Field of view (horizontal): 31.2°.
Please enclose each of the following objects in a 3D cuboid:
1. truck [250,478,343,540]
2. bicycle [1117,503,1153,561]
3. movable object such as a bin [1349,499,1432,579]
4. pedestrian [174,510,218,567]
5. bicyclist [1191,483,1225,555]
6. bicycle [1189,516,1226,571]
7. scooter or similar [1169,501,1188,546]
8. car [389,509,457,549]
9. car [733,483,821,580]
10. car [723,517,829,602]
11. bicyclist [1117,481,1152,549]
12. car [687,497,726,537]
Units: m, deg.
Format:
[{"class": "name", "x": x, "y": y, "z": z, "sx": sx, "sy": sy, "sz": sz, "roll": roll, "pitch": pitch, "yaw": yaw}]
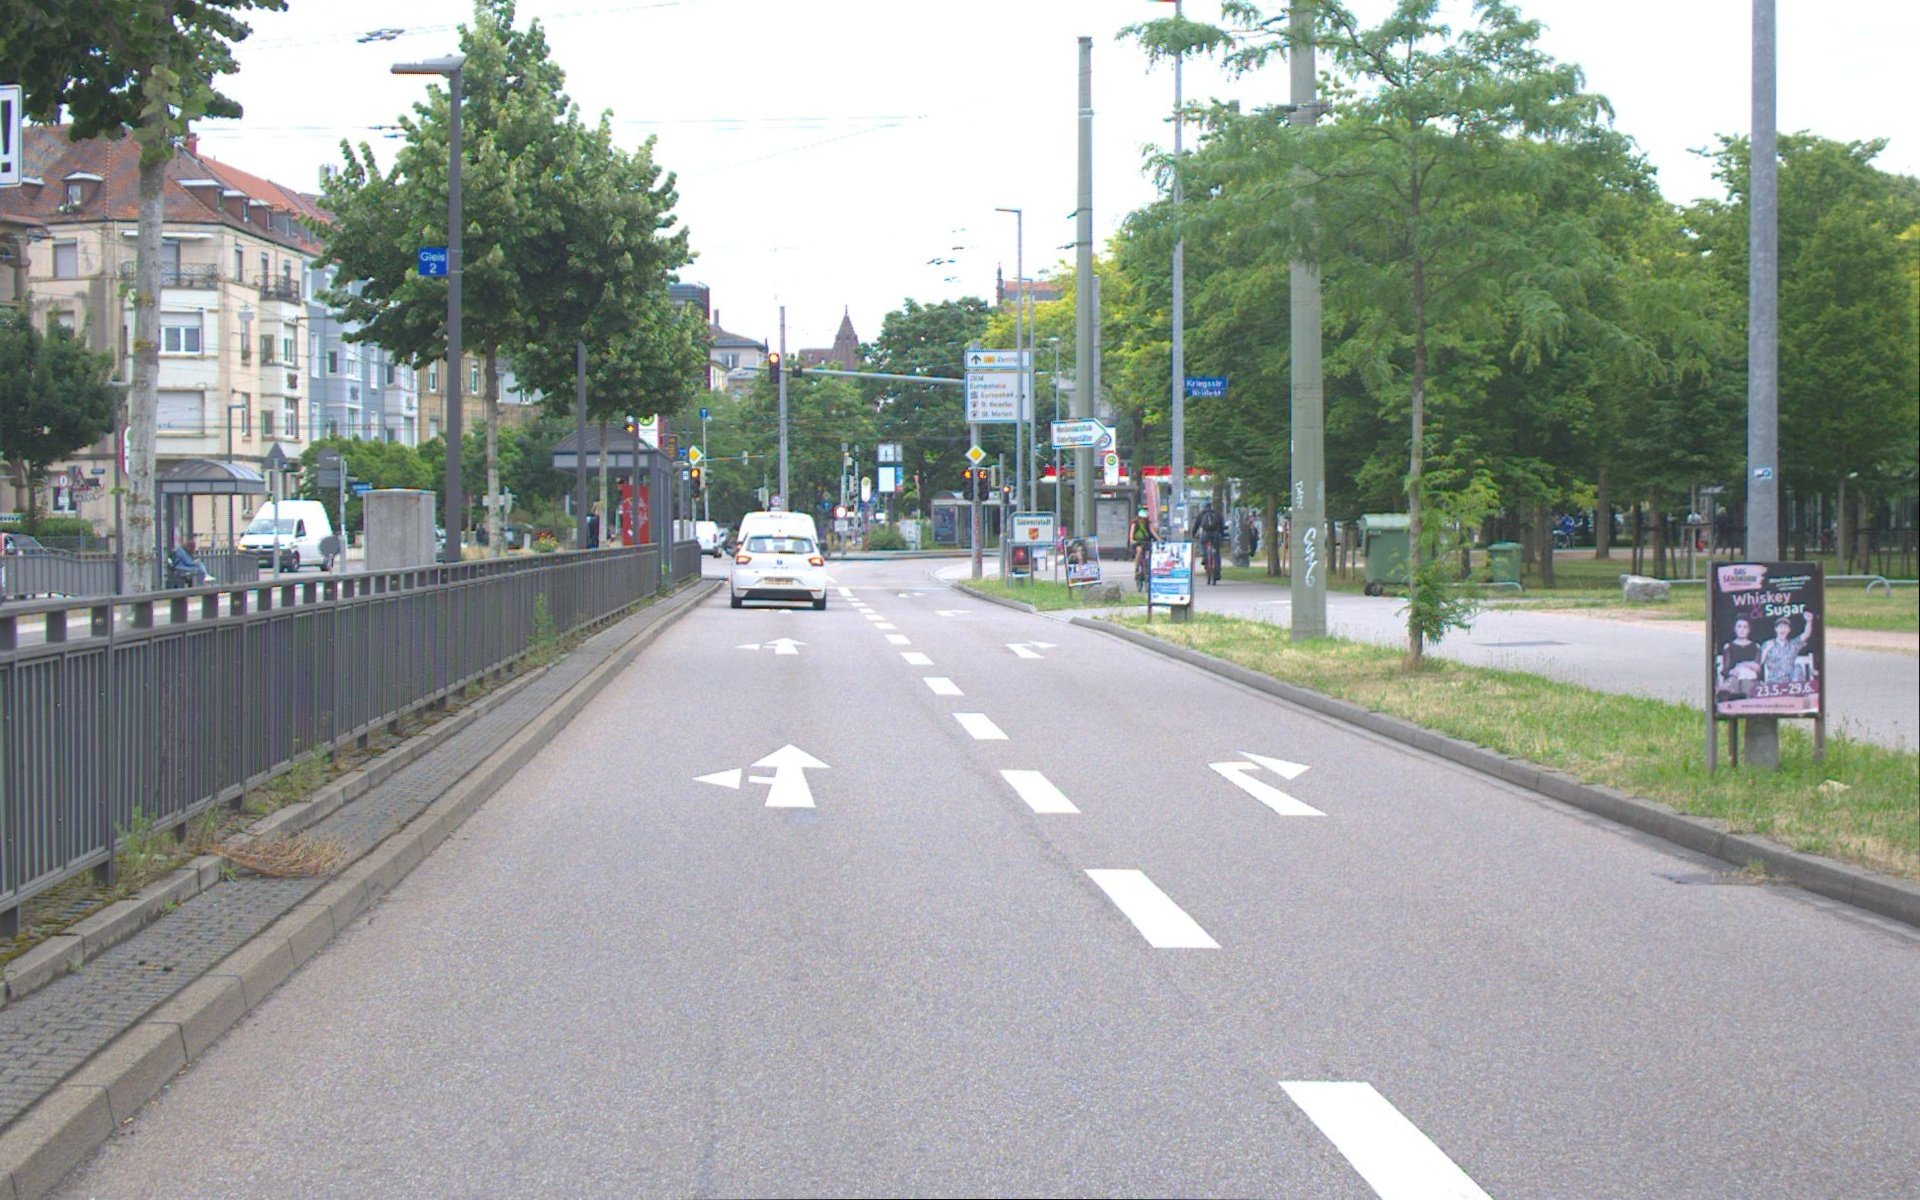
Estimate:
[{"class": "truck", "x": -22.430, "y": -3.062, "z": 116.374, "sx": 1.788, "sy": 2.025, "sz": 5.395, "roll": 0, "pitch": 1, "yaw": 4}, {"class": "bicycle", "x": 3.582, "y": -1.392, "z": 70.334, "sx": 0.679, "sy": 1.151, "sz": 1.898, "roll": -1, "pitch": 2, "yaw": 5}, {"class": "movable object such as a bin", "x": 7.581, "y": -1.076, "z": 60.573, "sx": 1.282, "sy": 1.385, "sz": 1.159, "roll": 0, "pitch": 1, "yaw": -2}, {"class": "pedestrian", "x": -17.247, "y": -1.396, "z": 77.582, "sx": 0.864, "sy": 1.262, "sz": 0.694, "roll": -1, "pitch": 2, "yaw": -5}, {"class": "bicyclist", "x": 5.369, "y": -1.762, "z": 74.587, "sx": 0.679, "sy": 1.532, "sz": 0.673, "roll": -1, "pitch": 2, "yaw": 1}, {"class": "bicycle", "x": 5.378, "y": -1.228, "z": 74.719, "sx": 0.679, "sy": 1.151, "sz": 1.898, "roll": -1, "pitch": 2, "yaw": 1}, {"class": "scooter or similar", "x": 5.519, "y": -1.930, "z": 86.726, "sx": 0.376, "sy": 1.137, "sz": 1.199, "roll": -1, "pitch": 2, "yaw": 8}, {"class": "car", "x": -20.576, "y": -2.721, "z": 131.854, "sx": 1.770, "sy": 1.488, "sz": 3.886, "roll": 0, "pitch": 1, "yaw": 4}, {"class": "car", "x": -3.830, "y": -1.461, "z": 71.755, "sx": 1.782, "sy": 1.956, "sz": 4.383, "roll": 0, "pitch": 2, "yaw": -3}, {"class": "car", "x": -3.303, "y": -0.761, "z": 62.259, "sx": 1.782, "sy": 1.467, "sz": 4.011, "roll": 0, "pitch": 2, "yaw": -1}, {"class": "bicyclist", "x": 3.564, "y": -1.744, "z": 70.332, "sx": 0.679, "sy": 1.375, "sz": 0.727, "roll": -1, "pitch": 2, "yaw": 5}, {"class": "car", "x": -12.098, "y": -3.966, "z": 164.126, "sx": 1.770, "sy": 1.867, "sz": 3.887, "roll": 0, "pitch": 1, "yaw": -3}]
